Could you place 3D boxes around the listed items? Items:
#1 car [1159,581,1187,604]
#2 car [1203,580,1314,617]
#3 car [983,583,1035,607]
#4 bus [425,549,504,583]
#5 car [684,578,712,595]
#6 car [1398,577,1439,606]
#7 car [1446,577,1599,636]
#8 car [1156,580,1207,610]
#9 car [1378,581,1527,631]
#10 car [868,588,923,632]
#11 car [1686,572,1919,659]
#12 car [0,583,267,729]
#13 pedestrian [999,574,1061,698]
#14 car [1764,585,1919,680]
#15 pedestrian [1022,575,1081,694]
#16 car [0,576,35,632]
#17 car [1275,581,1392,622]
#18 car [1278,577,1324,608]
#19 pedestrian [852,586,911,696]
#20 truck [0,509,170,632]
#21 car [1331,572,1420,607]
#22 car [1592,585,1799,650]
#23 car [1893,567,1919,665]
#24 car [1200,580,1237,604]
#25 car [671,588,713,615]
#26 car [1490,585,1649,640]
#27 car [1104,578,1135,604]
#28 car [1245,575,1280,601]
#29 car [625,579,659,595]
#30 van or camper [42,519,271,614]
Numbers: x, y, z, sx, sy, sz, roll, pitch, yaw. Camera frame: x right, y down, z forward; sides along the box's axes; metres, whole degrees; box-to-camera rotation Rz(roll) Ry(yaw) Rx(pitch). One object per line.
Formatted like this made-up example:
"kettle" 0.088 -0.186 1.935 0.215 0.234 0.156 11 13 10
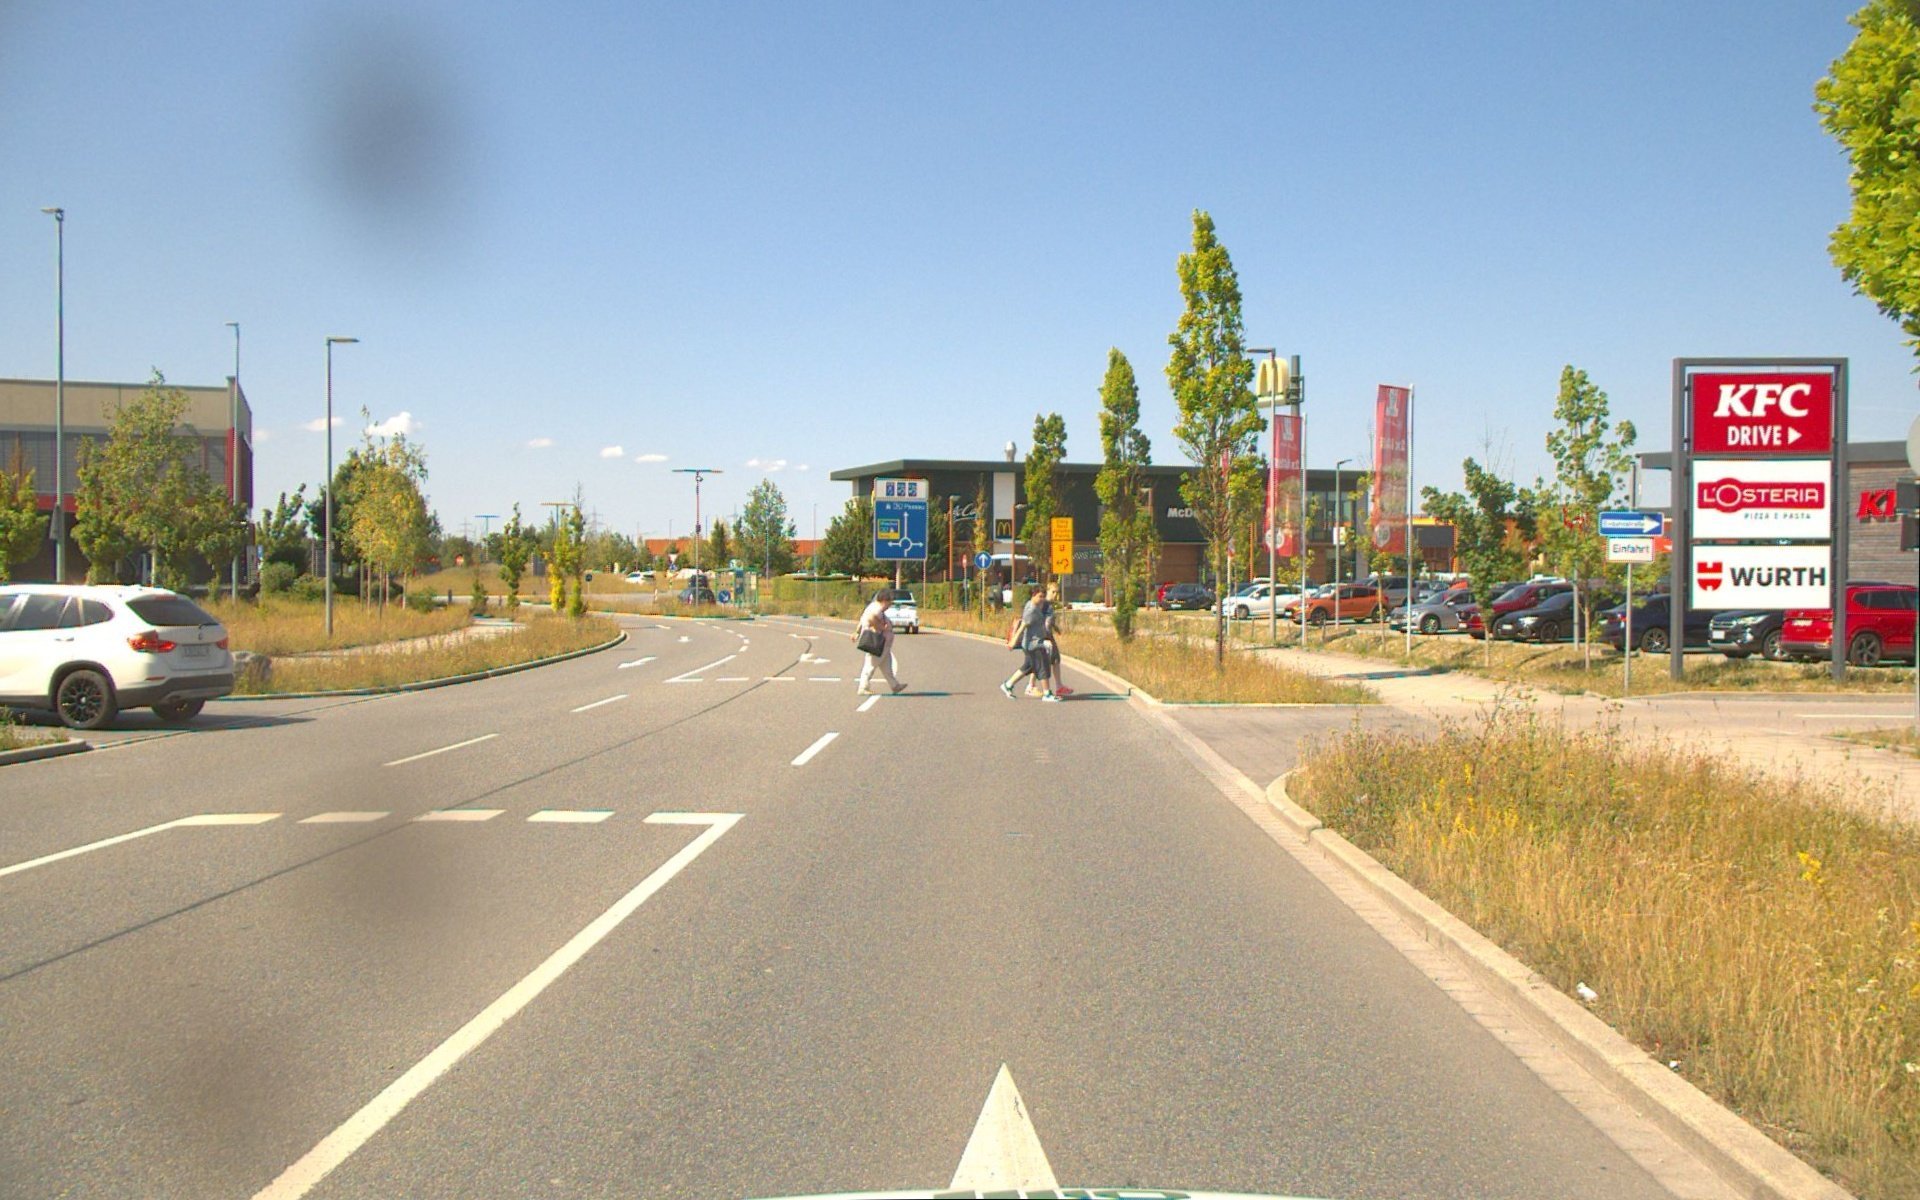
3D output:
"car" 13.917 -0.504 107.831 1.754 1.459 4.004 0 1 8
"car" 13.084 -0.076 72.554 4.451 1.516 1.861 -1 1 -15
"car" 2.969 -0.314 100.838 1.768 1.459 3.973 -1 1 -22
"bus" -50.935 -3.572 170.476 2.727 3.132 12.217 0 3 9
"car" -22.695 -1.173 143.370 1.953 1.465 3.999 0 1 -2
"car" 24.514 -0.474 88.414 1.749 1.476 4.170 0 1 21
"car" 17.265 0.182 50.854 4.075 1.694 1.866 -1 1 -8
"car" 11.134 -0.270 82.871 1.662 1.487 4.170 0 1 21
"car" 16.492 0.186 55.435 4.474 1.516 1.864 -1 1 -12
"car" -2.240 0.308 56.654 1.586 1.459 3.787 0 0 -7
"car" 18.386 0.315 36.095 4.319 1.765 1.790 -1 1 -4
"car" -10.427 0.593 19.017 4.122 1.574 1.919 0 0 8
"pedestrian" 0.957 0.485 22.738 0.792 1.657 0.866 1 0 -1
"car" 18.714 0.617 33.327 4.325 1.765 1.787 -1 1 -10
"pedestrian" 1.297 0.476 23.571 0.784 1.658 0.804 1 0 -1
"car" -26.413 0.095 42.319 4.339 1.407 1.973 0 0 -7
"car" 14.725 0.052 65.240 4.135 1.516 1.861 -1 1 -15
"car" 17.713 -0.406 85.822 1.749 1.607 4.170 0 1 21
"pedestrian" -1.085 0.556 23.023 0.776 1.495 0.949 1 0 -1
"truck" -27.916 -0.886 51.088 2.267 3.525 7.501 0 0 12
"car" 20.544 -0.514 81.789 4.100 1.664 1.779 -1 1 -24
"car" 17.979 0.411 40.617 4.312 1.474 1.793 -1 1 8
"car" 19.801 0.253 29.943 4.886 1.765 1.937 -1 1 -6
"car" 17.075 -0.536 109.096 1.755 1.539 4.002 0 1 18
"car" -15.138 0.080 93.409 1.594 1.459 3.767 0 0 -22
"car" 17.783 0.339 48.303 4.083 1.474 1.785 -1 1 -14
"car" 10.355 -0.587 106.992 1.754 1.632 4.004 0 1 8
"car" 20.320 -0.817 111.005 1.755 1.731 4.002 0 1 19
"car" -30.396 -1.222 157.919 1.974 1.489 3.957 -1 1 -31
"van or camper" -30.811 -1.251 63.749 7.569 3.529 2.544 0 0 -17
